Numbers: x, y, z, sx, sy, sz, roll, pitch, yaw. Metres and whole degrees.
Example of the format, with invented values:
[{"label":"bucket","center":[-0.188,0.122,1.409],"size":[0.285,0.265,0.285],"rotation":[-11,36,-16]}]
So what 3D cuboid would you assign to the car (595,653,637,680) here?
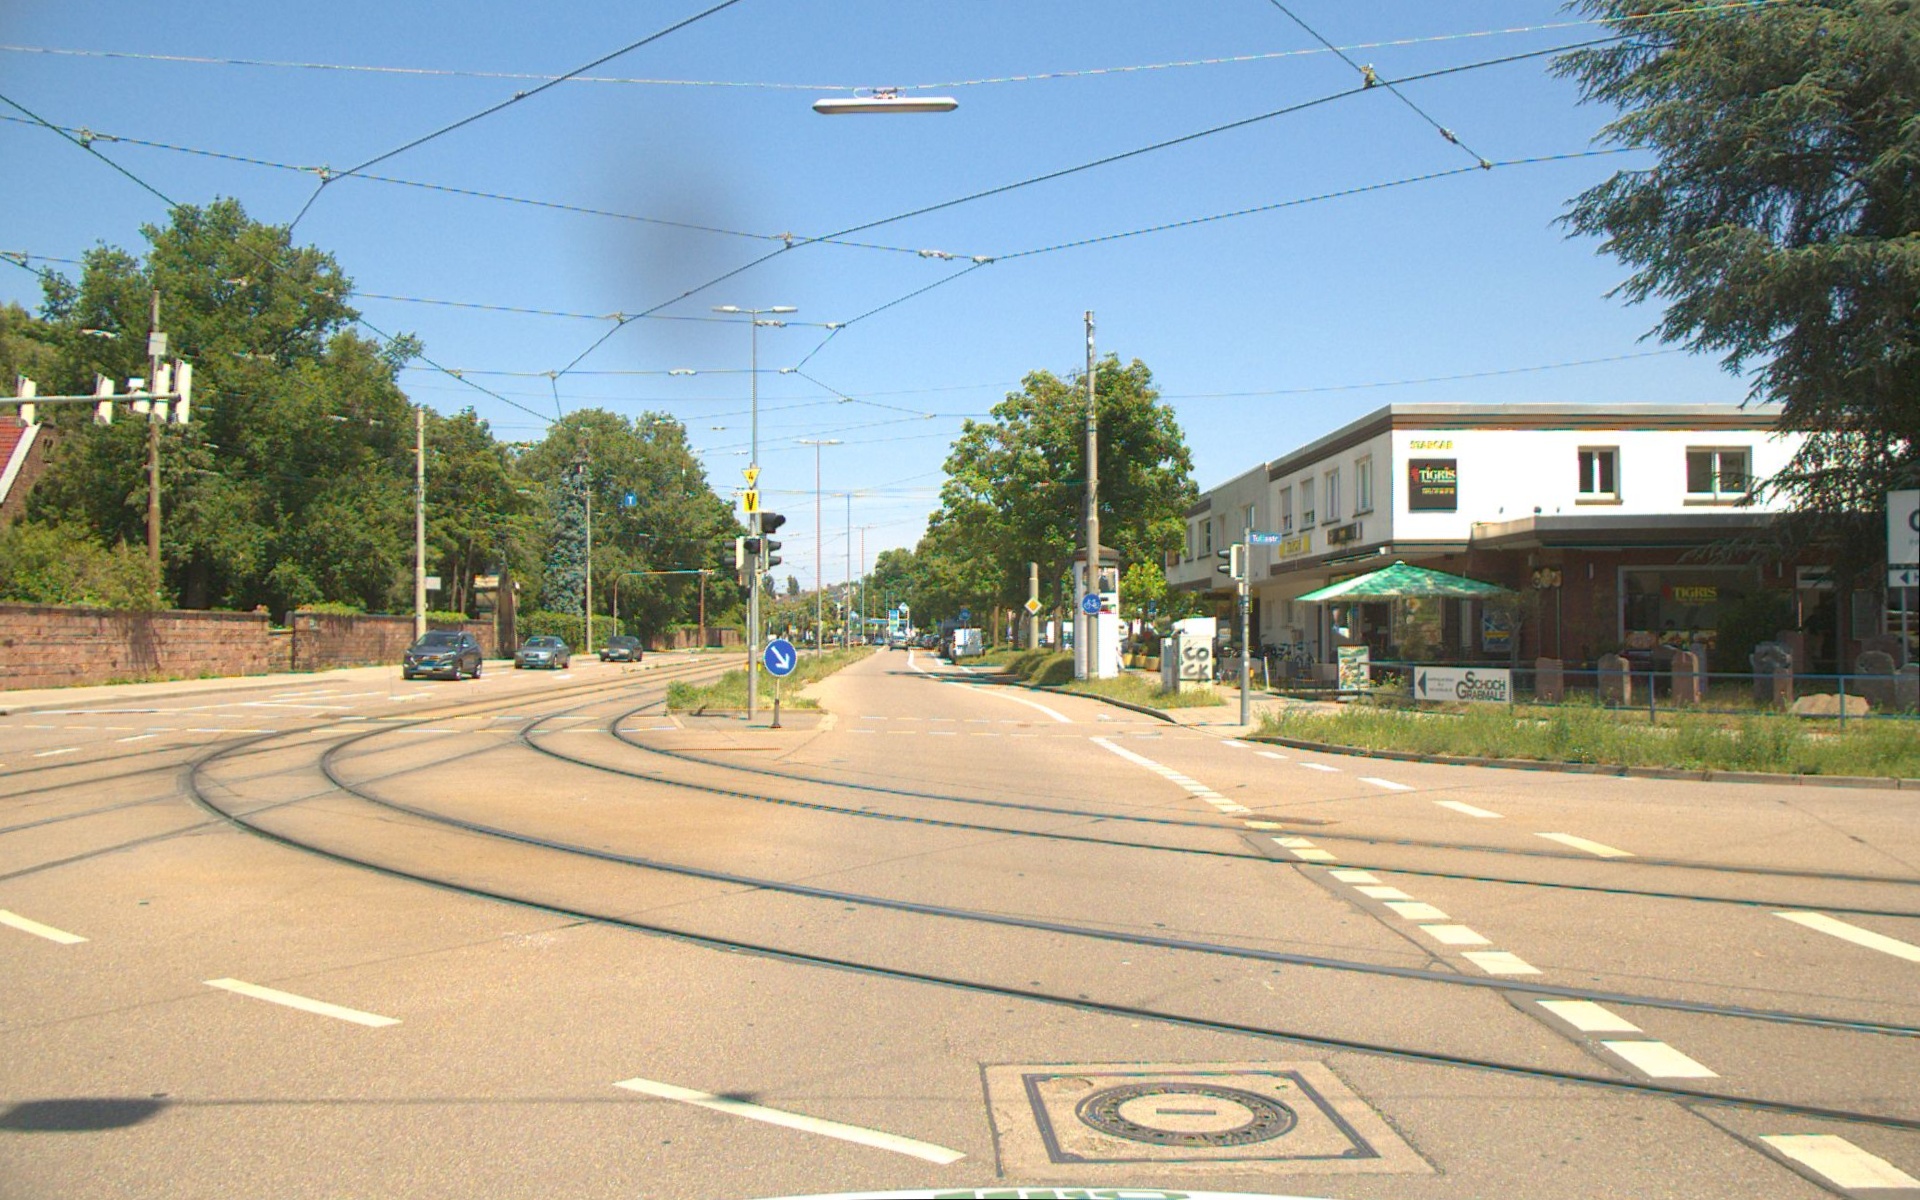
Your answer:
[{"label":"car","center":[-19.009,3.672,91.535],"size":[1.608,1.424,4.113],"rotation":[1,-2,-3]}]

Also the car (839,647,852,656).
[{"label":"car","center":[-13.781,6.237,198.932],"size":[1.462,1.065,3.577],"rotation":[0,-2,-2]}]

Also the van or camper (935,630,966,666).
[{"label":"van or camper","center":[-0.703,3.374,116.761],"size":[1.954,2.508,3.996],"rotation":[0,-2,-4]}]

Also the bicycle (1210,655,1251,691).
[{"label":"bicycle","center":[7.948,2.145,48.738],"size":[1.012,1.032,2.638],"rotation":[0,-2,5]}]

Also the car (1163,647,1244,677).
[{"label":"car","center":[11.603,2.960,78.932],"size":[3.539,1.375,1.488],"rotation":[0,-2,-8]}]

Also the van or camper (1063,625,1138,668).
[{"label":"van or camper","center":[9.123,3.015,107.631],"size":[4.662,2.718,2.134],"rotation":[0,-2,-4]}]

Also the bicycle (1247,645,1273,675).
[{"label":"bicycle","center":[11.343,2.281,62.543],"size":[0.497,1.084,1.862],"rotation":[2,-3,-5]}]

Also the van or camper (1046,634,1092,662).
[{"label":"van or camper","center":[8.702,3.815,131.981],"size":[3.487,2.183,1.601],"rotation":[0,-2,-4]}]

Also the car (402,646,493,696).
[{"label":"car","center":[-17.759,2.447,57.507],"size":[1.783,1.631,4.519],"rotation":[0,-1,-1]}]

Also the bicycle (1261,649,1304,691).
[{"label":"bicycle","center":[9.504,2.049,48.820],"size":[0.968,1.184,2.638],"rotation":[0,-2,5]}]

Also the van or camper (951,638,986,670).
[{"label":"van or camper","center":[0.456,3.070,94.293],"size":[1.883,1.803,3.998],"rotation":[0,-2,-1]}]

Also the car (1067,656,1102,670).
[{"label":"car","center":[9.090,4.591,120.574],"size":[2.533,0.979,1.149],"rotation":[0,-2,3]}]

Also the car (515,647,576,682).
[{"label":"car","center":[-18.256,2.825,73.012],"size":[1.607,1.446,4.167],"rotation":[0,-2,1]}]

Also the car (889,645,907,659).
[{"label":"car","center":[-5.954,4.951,158.037],"size":[1.604,1.375,3.838],"rotation":[0,-2,-4]}]
